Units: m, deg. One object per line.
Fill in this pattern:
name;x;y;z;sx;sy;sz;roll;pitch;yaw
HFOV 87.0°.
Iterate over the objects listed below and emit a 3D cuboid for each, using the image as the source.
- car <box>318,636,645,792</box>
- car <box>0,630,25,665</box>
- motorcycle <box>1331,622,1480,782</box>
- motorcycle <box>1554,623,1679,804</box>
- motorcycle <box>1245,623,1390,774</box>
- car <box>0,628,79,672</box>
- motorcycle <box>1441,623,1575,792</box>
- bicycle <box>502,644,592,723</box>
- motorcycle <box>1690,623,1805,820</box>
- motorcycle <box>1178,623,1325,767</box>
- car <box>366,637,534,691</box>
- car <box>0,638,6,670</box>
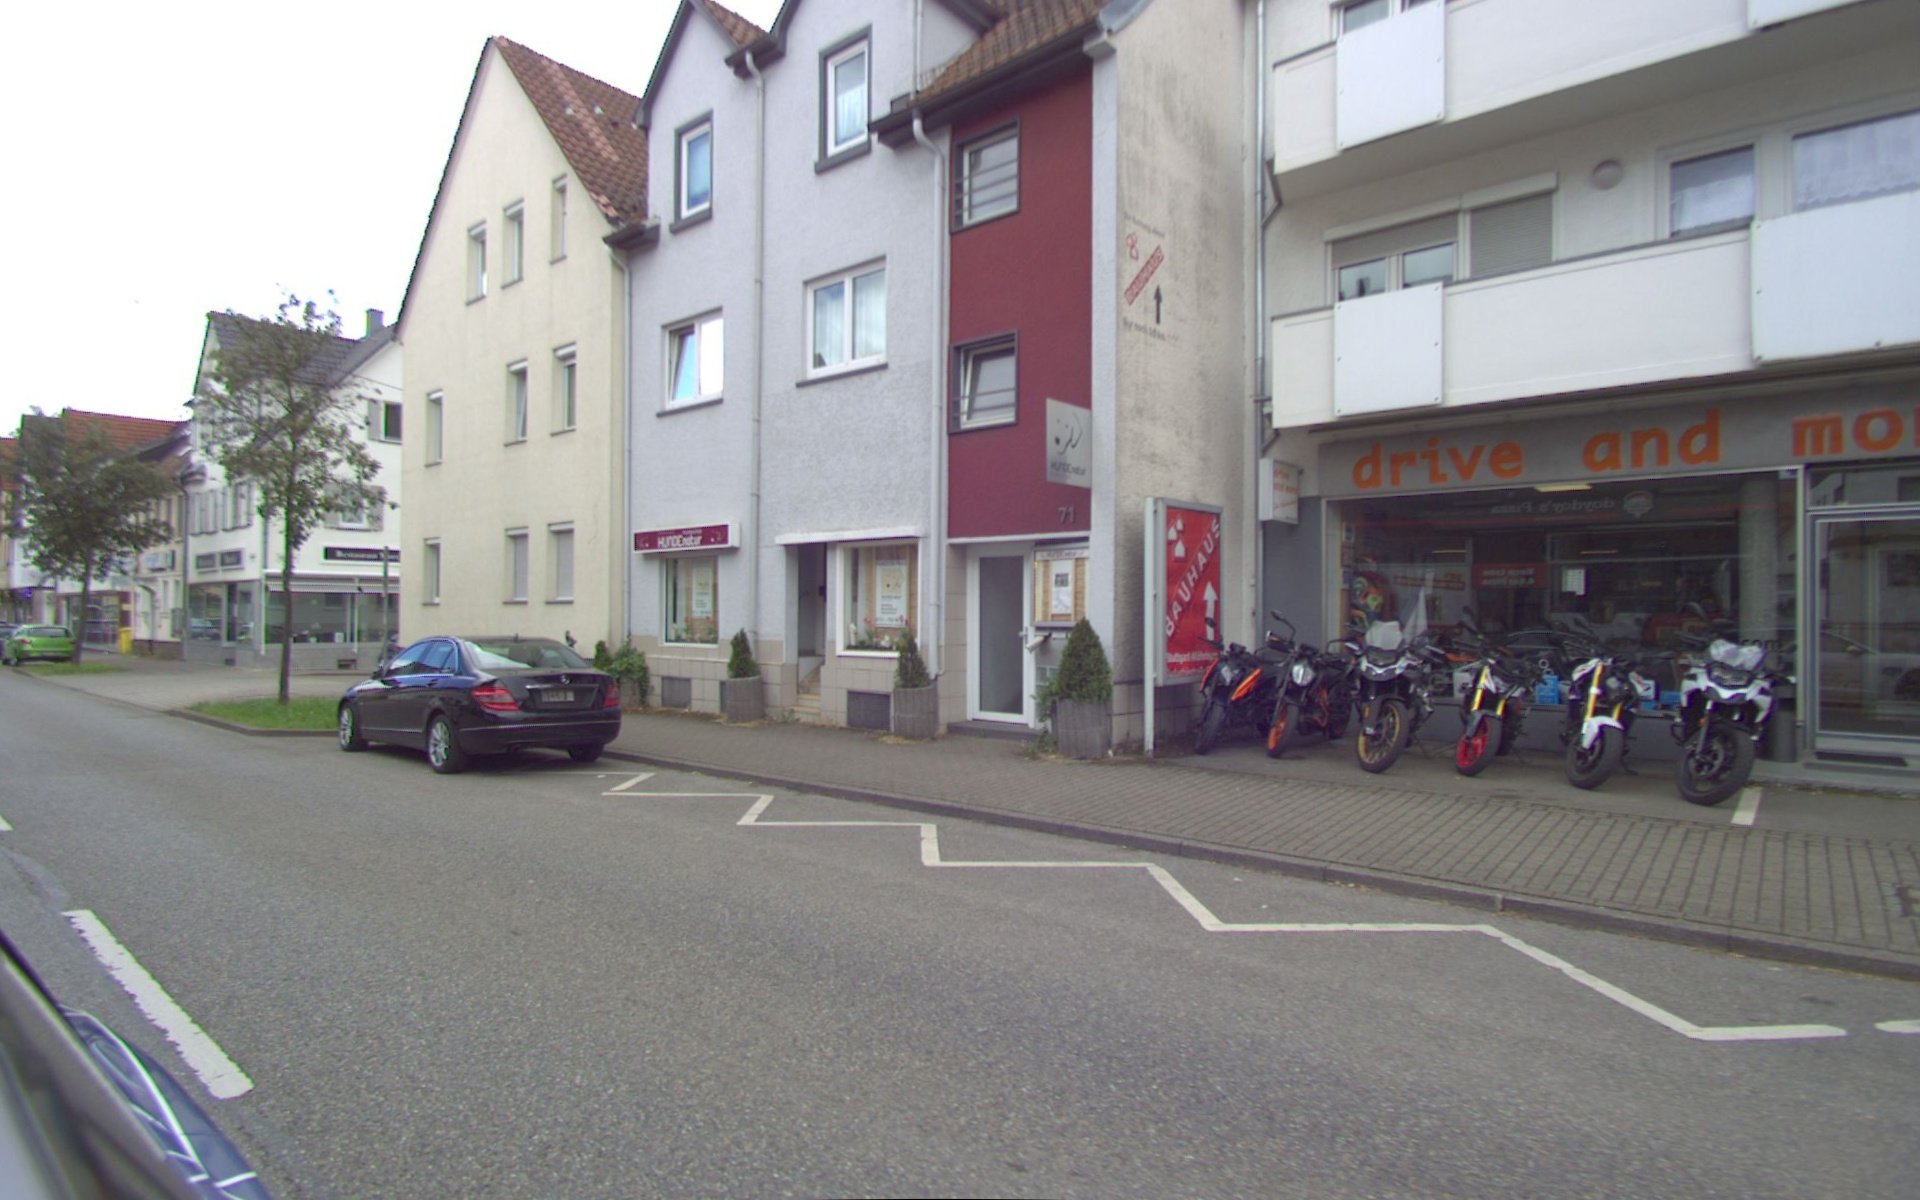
car;-5.595;1.155;11.586;4.338;1.428;1.769;-1;-3;41
car;-40.212;1.957;41.903;3.897;1.407;1.694;-1;-1;40
motorcycle;4.299;0.887;9.662;0.699;1.275;2.202;-1;0;40
motorcycle;5.639;0.873;8.629;0.613;1.275;2.202;-1;0;40
motorcycle;3.633;0.914;10.163;0.613;1.275;2.202;-1;0;40
car;-32.020;1.679;35.030;3.897;1.407;1.694;-1;-1;40
motorcycle;5.011;0.887;9.172;0.613;1.275;2.202;-1;0;40
bicycle;-6.842;1.345;16.725;2.022;1.205;0.509;-1;-2;41
motorcycle;6.263;0.859;8.003;0.613;1.275;2.202;-1;0;40
motorcycle;3.102;0.925;10.615;0.613;1.275;2.202;-1;0;40
car;-12.829;1.586;25.572;1.610;1.198;3.445;-4;-3;40
car;-44.005;2.407;45.130;3.897;1.407;1.694;-1;-1;40
